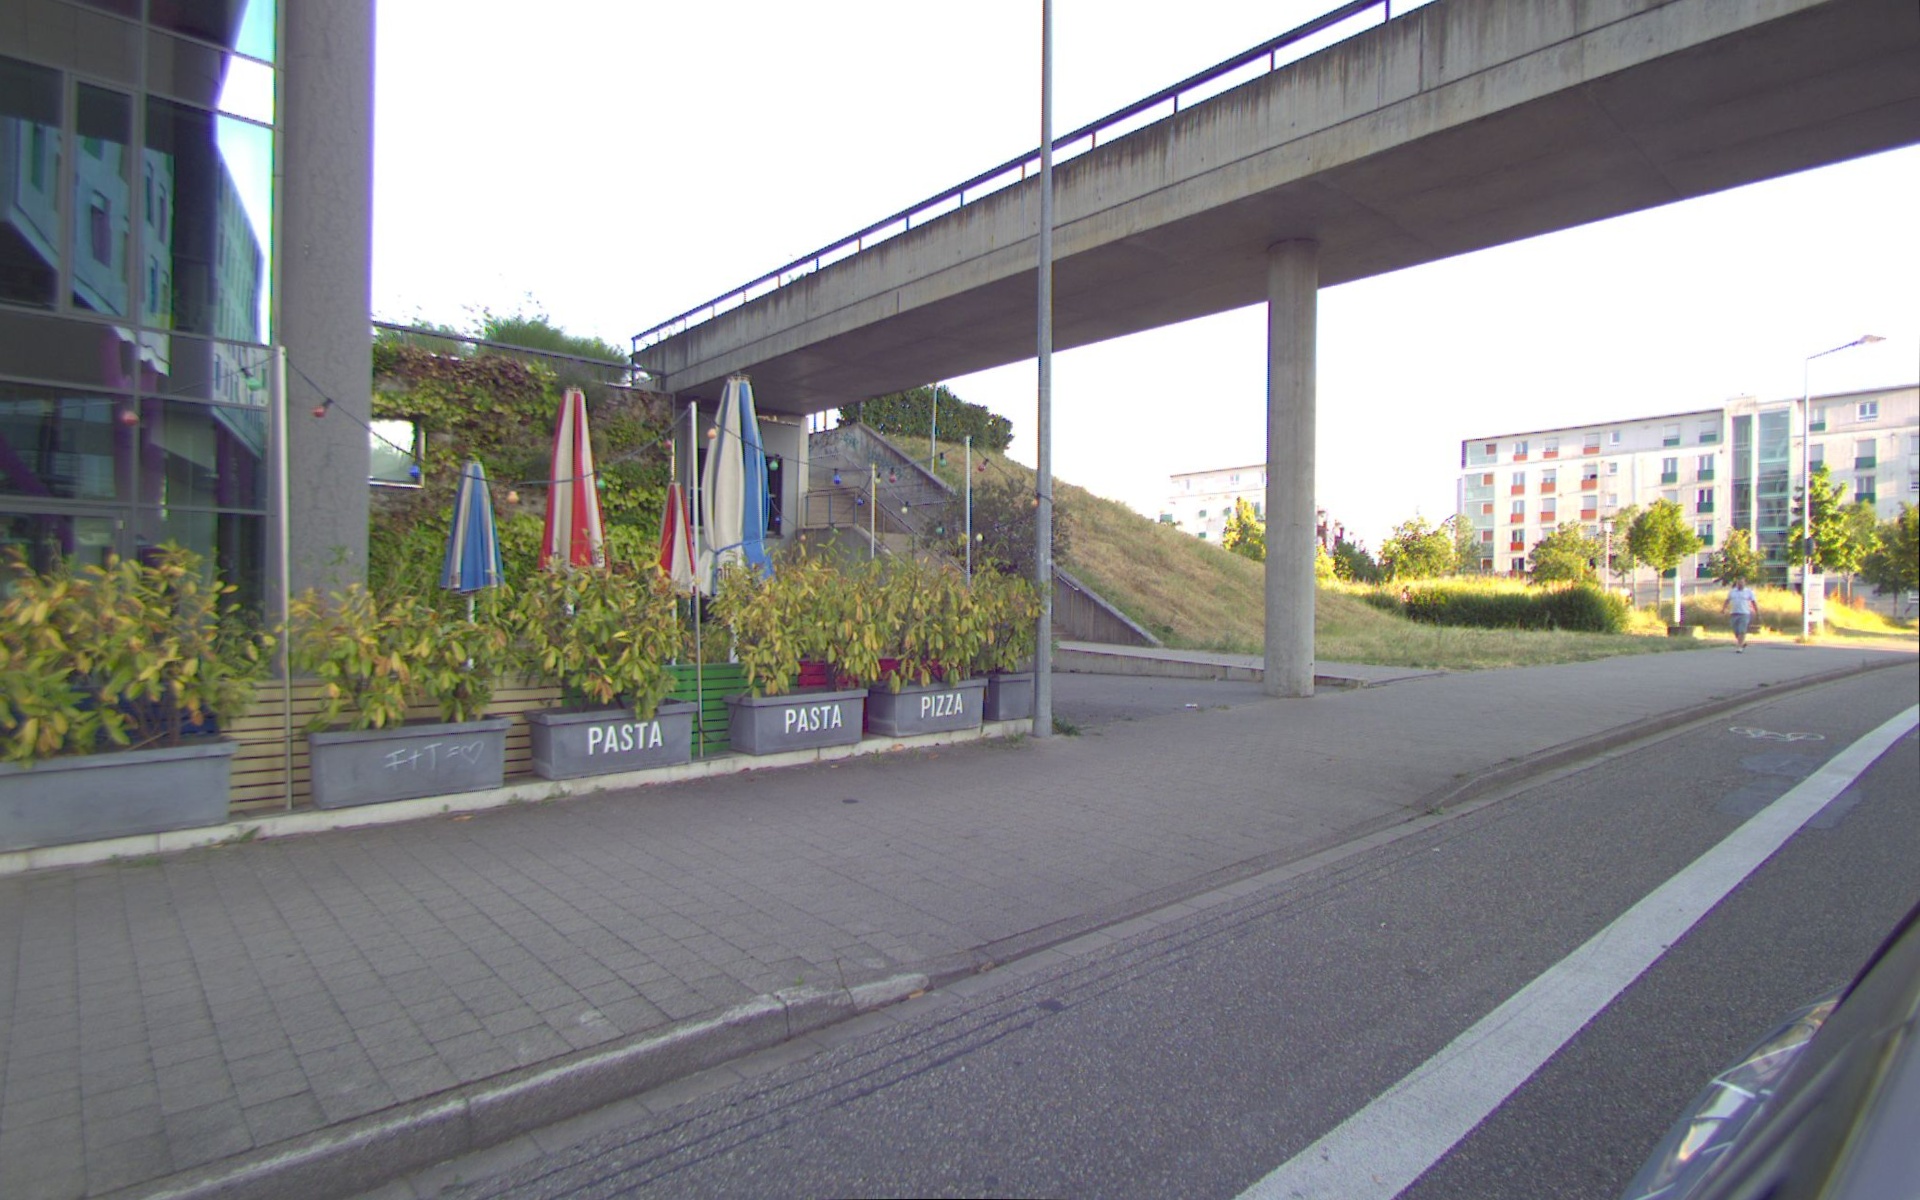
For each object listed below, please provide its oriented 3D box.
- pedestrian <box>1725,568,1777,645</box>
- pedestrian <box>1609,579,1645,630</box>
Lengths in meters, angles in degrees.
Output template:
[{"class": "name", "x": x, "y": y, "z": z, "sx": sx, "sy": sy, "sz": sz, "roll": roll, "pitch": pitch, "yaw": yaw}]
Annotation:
[{"class": "pedestrian", "x": 18.395, "y": 0.138, "z": 23.537, "sx": 0.890, "sy": 1.745, "sz": 0.737, "roll": 1, "pitch": 2, "yaw": -40}, {"class": "pedestrian", "x": 22.025, "y": 0.149, "z": 33.423, "sx": 0.844, "sy": 1.649, "sz": 0.737, "roll": 1, "pitch": 2, "yaw": -39}]
